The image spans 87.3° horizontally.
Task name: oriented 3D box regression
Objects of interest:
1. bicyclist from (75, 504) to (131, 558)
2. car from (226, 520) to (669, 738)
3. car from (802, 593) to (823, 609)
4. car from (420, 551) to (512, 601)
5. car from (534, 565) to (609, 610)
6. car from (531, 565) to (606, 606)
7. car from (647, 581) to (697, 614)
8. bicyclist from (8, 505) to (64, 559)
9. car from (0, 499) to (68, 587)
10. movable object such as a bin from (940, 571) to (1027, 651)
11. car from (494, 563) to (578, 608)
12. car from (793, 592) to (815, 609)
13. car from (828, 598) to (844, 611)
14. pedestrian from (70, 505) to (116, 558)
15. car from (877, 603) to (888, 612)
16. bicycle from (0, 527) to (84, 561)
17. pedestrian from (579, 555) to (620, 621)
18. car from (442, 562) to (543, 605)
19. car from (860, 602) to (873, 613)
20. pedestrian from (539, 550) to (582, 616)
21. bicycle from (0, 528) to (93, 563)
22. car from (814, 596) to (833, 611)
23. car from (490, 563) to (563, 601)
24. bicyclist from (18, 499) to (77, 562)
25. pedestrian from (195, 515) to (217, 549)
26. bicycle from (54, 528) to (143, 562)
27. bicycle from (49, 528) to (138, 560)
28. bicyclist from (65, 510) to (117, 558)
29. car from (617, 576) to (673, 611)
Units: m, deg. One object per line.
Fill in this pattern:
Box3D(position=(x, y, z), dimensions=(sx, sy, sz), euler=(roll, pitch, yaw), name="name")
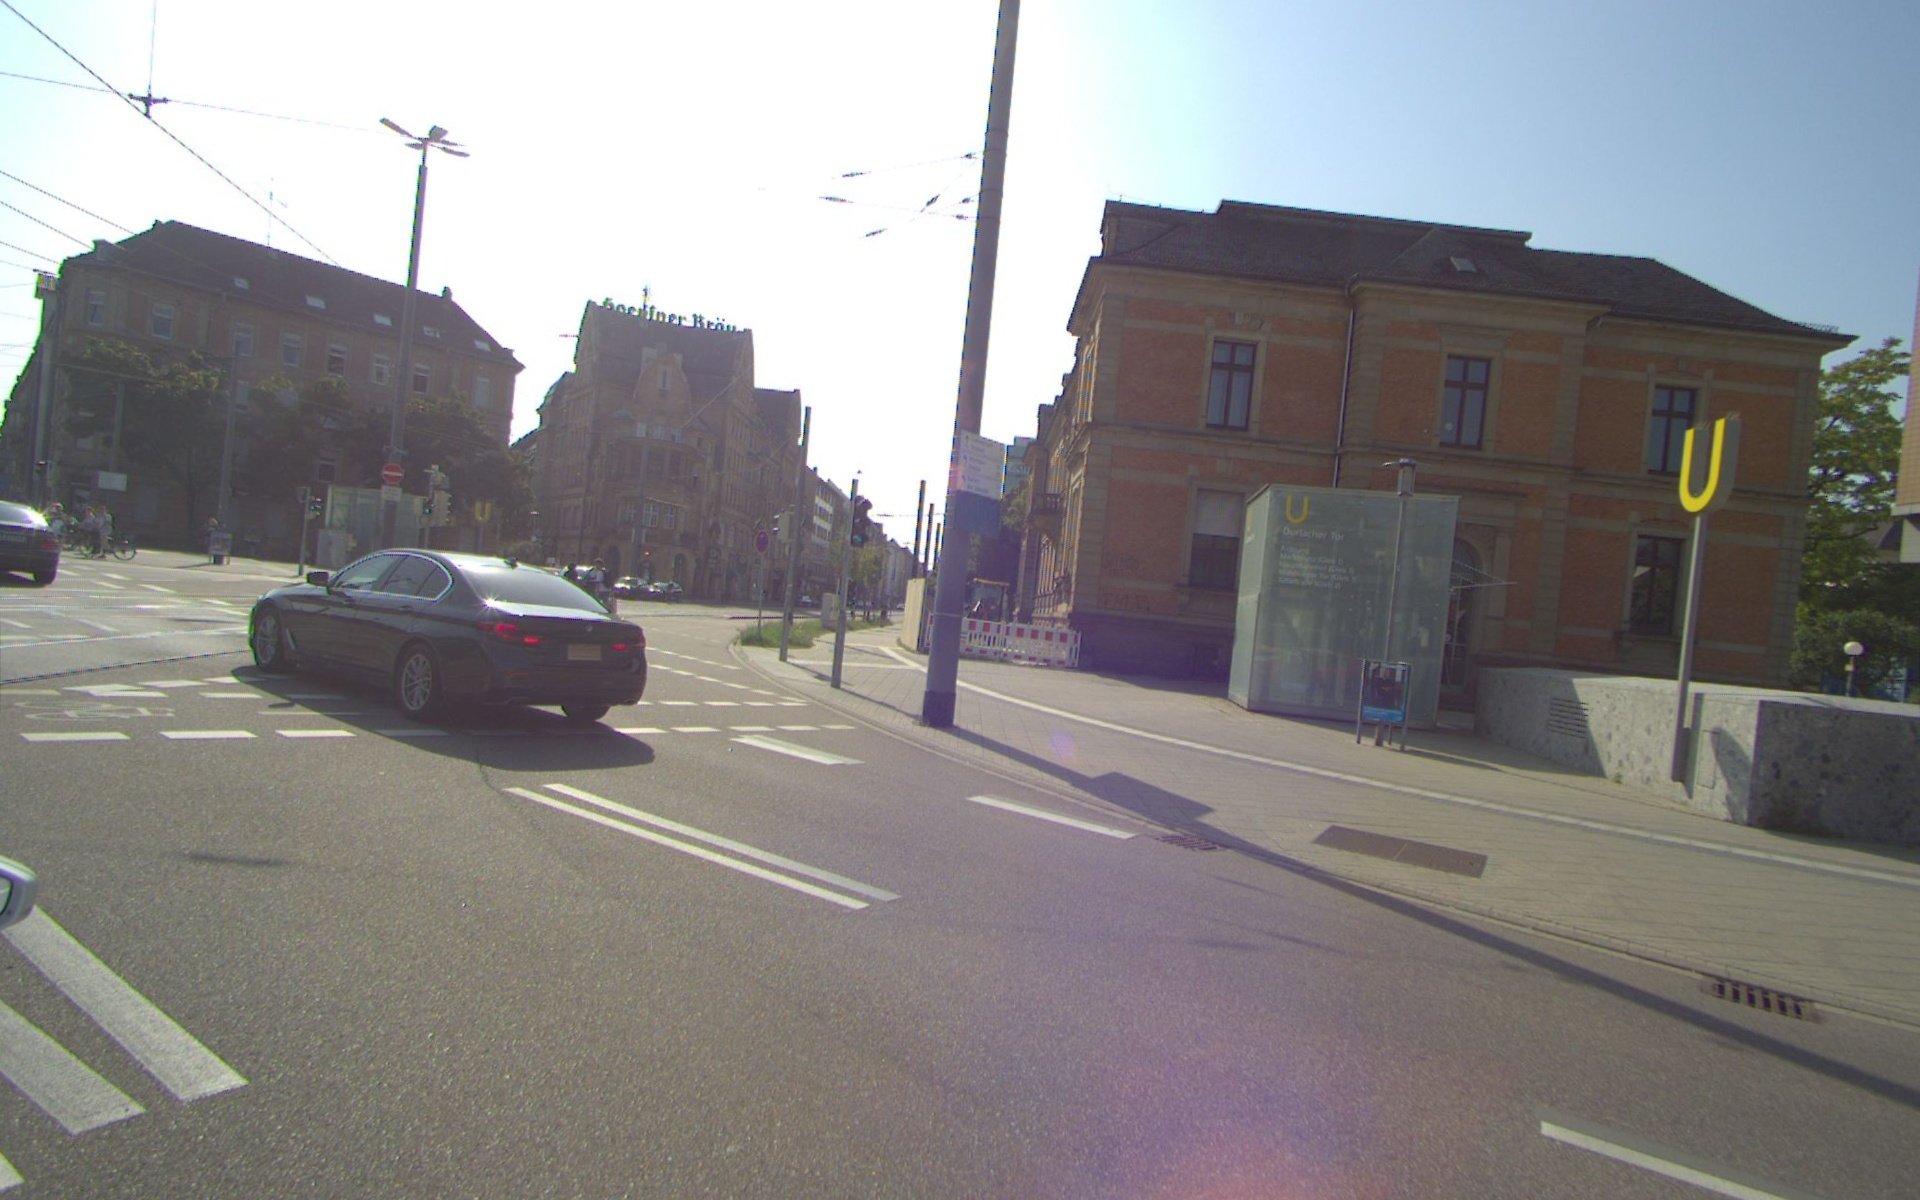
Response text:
Box3D(position=(-30.398, -2.444, 35.698), dimensions=(1.074, 1.730, 0.935), euler=(6, 0, -8), name="bicyclist")
Box3D(position=(-5.148, 0.200, 9.868), dimensions=(4.597, 1.510, 1.684), euler=(6, -1, 33), name="car")
Box3D(position=(-19.868, 0.181, 135.539), dimensions=(1.896, 1.881, 4.115), euler=(6, -1, 2), name="car")
Box3D(position=(-22.341, -1.024, 45.692), dimensions=(1.874, 1.881, 4.252), euler=(6, -1, 2), name="car")
Box3D(position=(-18.945, -0.546, 49.268), dimensions=(1.875, 1.881, 4.069), euler=(6, -1, 2), name="car")
Box3D(position=(-21.396, -0.727, 55.147), dimensions=(2.007, 1.881, 4.666), euler=(6, -1, 2), name="car")
Box3D(position=(-19.369, -0.140, 67.898), dimensions=(1.896, 1.881, 4.115), euler=(6, -1, 2), name="car")
Box3D(position=(-34.064, -2.493, 37.106), dimensions=(1.072, 1.822, 0.937), euler=(6, 0, 5), name="bicyclist")
Box3D(position=(-18.448, -1.186, 18.771), dimensions=(4.304, 1.460, 1.683), euler=(6, 0, 35), name="car")
Box3D(position=(0.716, 0.393, 38.154), dimensions=(2.408, 2.472, 7.975), euler=(6, 0, -3), name="movable object such as a bin")
Box3D(position=(-21.487, -0.694, 51.222), dimensions=(1.874, 1.881, 4.712), euler=(6, -1, 4), name="car")
Box3D(position=(-19.850, 0.140, 127.921), dimensions=(1.896, 1.881, 4.115), euler=(6, -1, 2), name="car")
Box3D(position=(-20.396, 0.754, 165.407), dimensions=(1.896, 1.881, 4.115), euler=(6, -1, 2), name="car")
Box3D(position=(-32.525, -2.561, 37.740), dimensions=(0.845, 1.819, 0.926), euler=(6, 1, -12), name="pedestrian")
Box3D(position=(-18.317, 1.812, 237.729), dimensions=(1.896, 1.881, 4.115), euler=(6, -1, 2), name="car")
Box3D(position=(-34.109, -2.069, 37.128), dimensions=(1.072, 0.976, 2.628), euler=(6, 0, 5), name="bicycle")
Box3D(position=(-9.918, -0.329, 27.666), dimensions=(0.909, 1.711, 0.921), euler=(6, 0, -21), name="pedestrian")
Box3D(position=(-19.467, -0.642, 42.137), dimensions=(1.985, 1.414, 4.389), euler=(6, -1, 2), name="car")
Box3D(position=(-19.094, 1.554, 205.835), dimensions=(1.896, 1.881, 4.115), euler=(6, -1, 2), name="car")
Box3D(position=(-10.959, -0.465, 27.590), dimensions=(0.910, 1.711, 0.833), euler=(6, 0, -24), name="pedestrian")
Box3D(position=(-32.357, -1.899, 35.689), dimensions=(1.074, 0.976, 2.623), euler=(6, 0, -8), name="bicycle")
Box3D(position=(-19.512, 0.451, 143.634), dimensions=(1.896, 1.881, 4.115), euler=(6, -1, 2), name="car")
Box3D(position=(-25.888, -1.053, 60.214), dimensions=(1.894, 1.881, 4.277), euler=(6, -1, 9), name="car")
Box3D(position=(-32.298, -2.448, 35.638), dimensions=(1.074, 2.049, 0.935), euler=(6, 1, -8), name="bicyclist")
Box3D(position=(-35.218, -3.156, 46.989), dimensions=(0.538, 1.489, 0.666), euler=(5, 1, -15), name="pedestrian")
Box3D(position=(-30.442, -1.923, 35.614), dimensions=(1.074, 0.976, 2.623), euler=(6, 0, -8), name="bicycle")
Box3D(position=(-34.320, -2.208, 39.909), dimensions=(1.072, 0.976, 2.628), euler=(6, 0, 5), name="bicycle")
Box3D(position=(-34.293, -2.581, 39.709), dimensions=(1.072, 1.701, 0.937), euler=(6, 0, 5), name="bicyclist")
Box3D(position=(-19.698, -0.348, 63.001), dimensions=(1.941, 1.881, 4.138), euler=(6, -1, 2), name="car")
